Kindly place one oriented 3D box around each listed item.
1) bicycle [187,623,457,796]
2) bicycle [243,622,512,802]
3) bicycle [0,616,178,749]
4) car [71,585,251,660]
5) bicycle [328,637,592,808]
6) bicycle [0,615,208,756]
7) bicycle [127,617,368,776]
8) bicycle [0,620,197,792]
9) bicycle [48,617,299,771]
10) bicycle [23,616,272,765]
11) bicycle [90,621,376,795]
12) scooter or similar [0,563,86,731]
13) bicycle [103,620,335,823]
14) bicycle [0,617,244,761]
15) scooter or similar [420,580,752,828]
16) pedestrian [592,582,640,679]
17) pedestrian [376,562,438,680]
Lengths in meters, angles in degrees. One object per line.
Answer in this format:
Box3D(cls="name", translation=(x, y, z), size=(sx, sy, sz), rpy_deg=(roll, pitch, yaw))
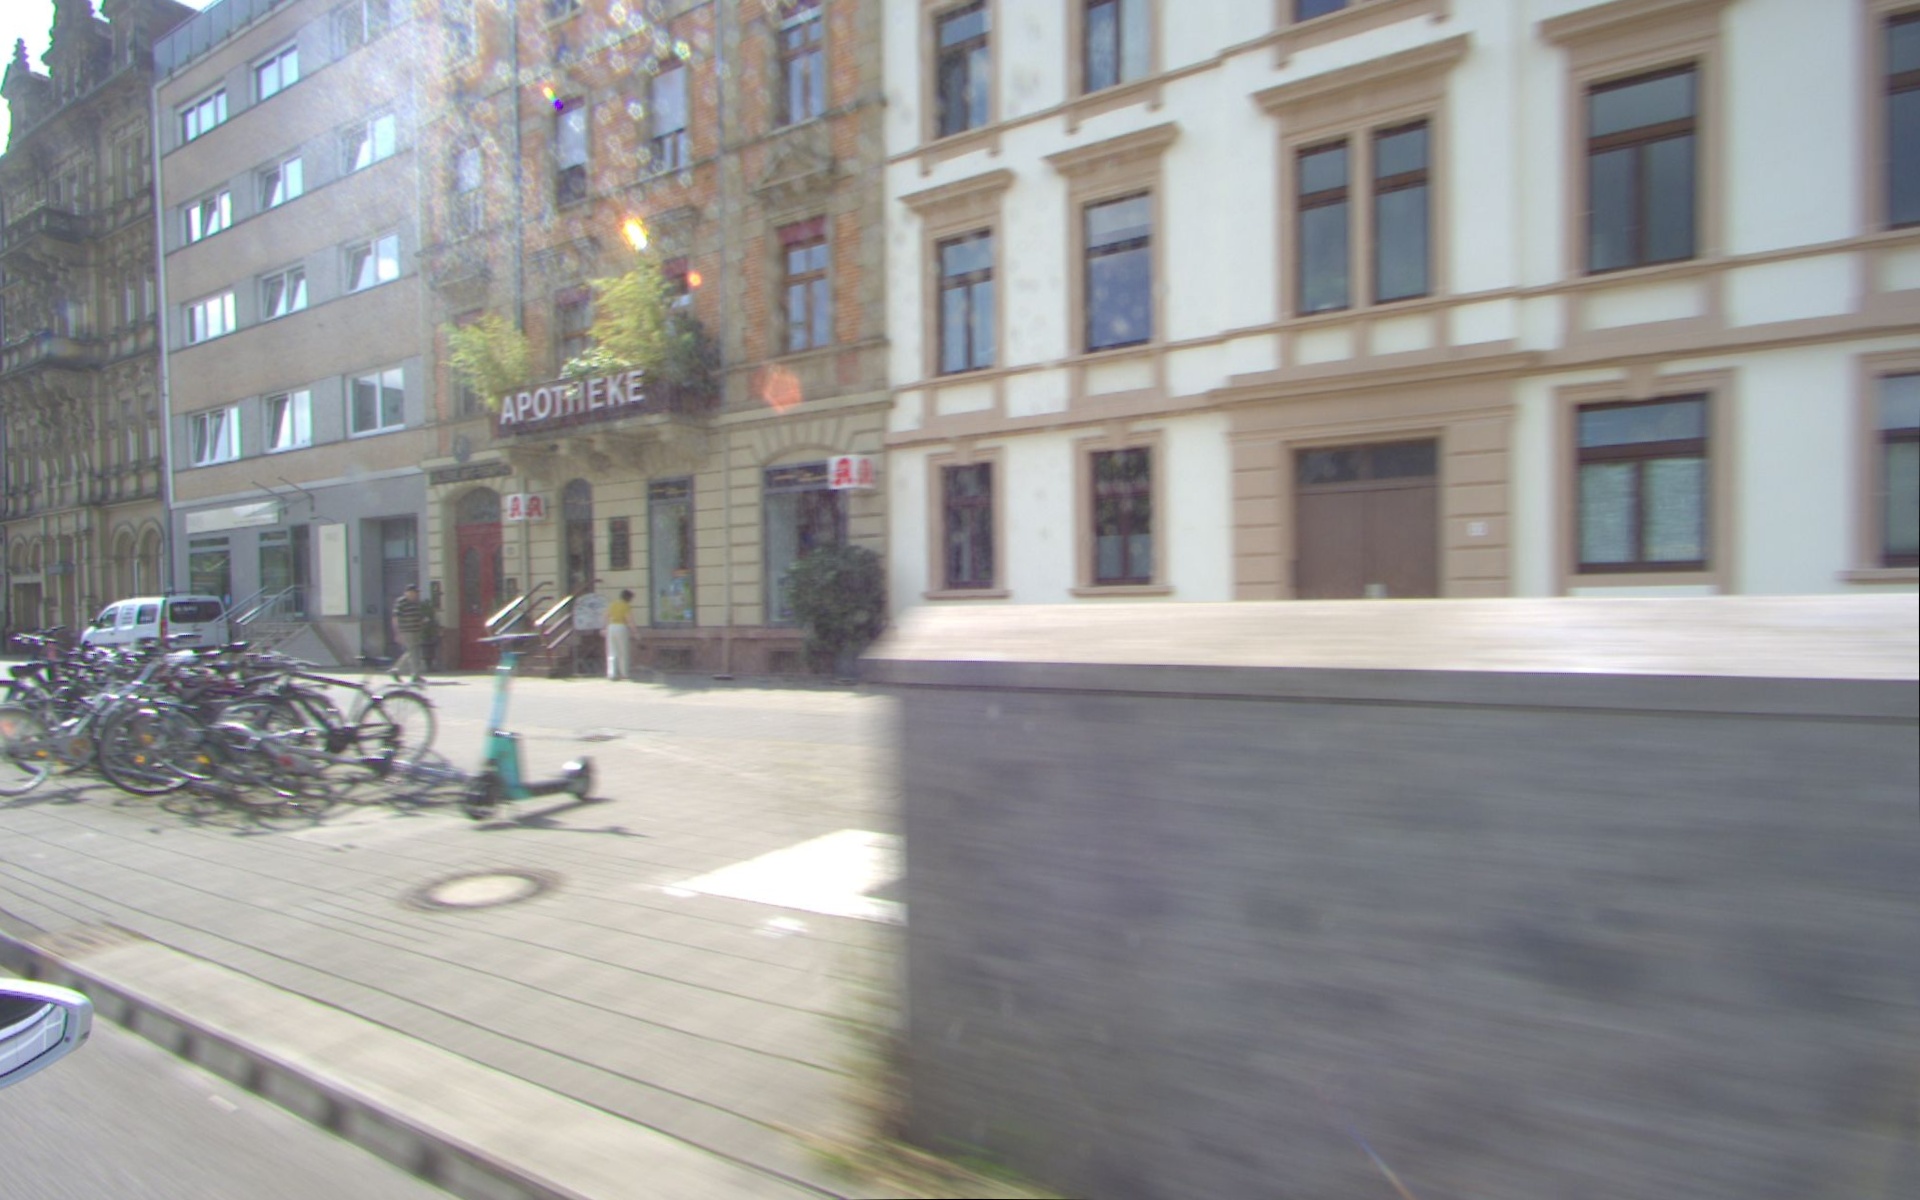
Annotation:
Box3D(cls="bicycle", translation=(-5.303, 0.845, 8.470), size=(0.435, 1.254, 1.919), rpy_deg=(2, 2, 33))
Box3D(cls="bicycle", translation=(-4.682, 0.836, 8.205), size=(0.435, 1.254, 1.919), rpy_deg=(2, 2, 33))
Box3D(cls="bicycle", translation=(-9.365, 0.818, 10.436), size=(0.433, 1.254, 1.980), rpy_deg=(2, 1, 20))
Box3D(cls="car", translation=(-21.739, 0.626, 27.230), size=(4.677, 1.886, 1.993), rpy_deg=(-2, 0, 26))
Box3D(cls="bicycle", translation=(-3.875, 0.896, 7.941), size=(0.435, 1.118, 1.919), rpy_deg=(2, 2, 33))
Box3D(cls="bicycle", translation=(-8.837, 0.811, 10.232), size=(0.433, 1.254, 1.926), rpy_deg=(2, 1, 19))
Box3D(cls="bicycle", translation=(-6.455, 0.813, 9.223), size=(0.433, 1.254, 1.926), rpy_deg=(2, 1, 18))
Box3D(cls="bicycle", translation=(-7.328, 0.818, 8.103), size=(0.433, 1.254, 1.926), rpy_deg=(2, 1, 18))
Box3D(cls="bicycle", translation=(-7.351, 0.816, 9.492), size=(0.433, 1.254, 1.925), rpy_deg=(2, 1, 21))
Box3D(cls="bicycle", translation=(-7.830, 0.816, 9.776), size=(0.433, 1.254, 1.925), rpy_deg=(2, 1, 21))
Box3D(cls="bicycle", translation=(-5.996, 0.827, 8.398), size=(0.435, 1.254, 1.919), rpy_deg=(2, 2, 33))
Box3D(cls="scooter or similar", translation=(-10.577, 0.521, 11.250), size=(1.510, 1.810, 0.397), rpy_deg=(-1, 1, 19))
Box3D(cls="bicycle", translation=(-5.278, 0.807, 7.109), size=(1.898, 1.254, 0.440), rpy_deg=(2, 2, 24))
Box3D(cls="bicycle", translation=(-8.331, 0.825, 10.066), size=(0.433, 1.254, 1.925), rpy_deg=(2, 1, 21))
Box3D(cls="scooter or similar", translation=(-2.679, 0.659, 7.481), size=(0.688, 1.566, 2.316), rpy_deg=(2, 2, 37))
Box3D(cls="pedestrian", translation=(-6.229, 0.536, 18.141), size=(0.603, 1.721, 0.577), rpy_deg=(2, 2, 32))
Box3D(cls="pedestrian", translation=(-10.320, 0.376, 18.688), size=(0.775, 2.128, 0.719), rpy_deg=(2, 2, 32))
